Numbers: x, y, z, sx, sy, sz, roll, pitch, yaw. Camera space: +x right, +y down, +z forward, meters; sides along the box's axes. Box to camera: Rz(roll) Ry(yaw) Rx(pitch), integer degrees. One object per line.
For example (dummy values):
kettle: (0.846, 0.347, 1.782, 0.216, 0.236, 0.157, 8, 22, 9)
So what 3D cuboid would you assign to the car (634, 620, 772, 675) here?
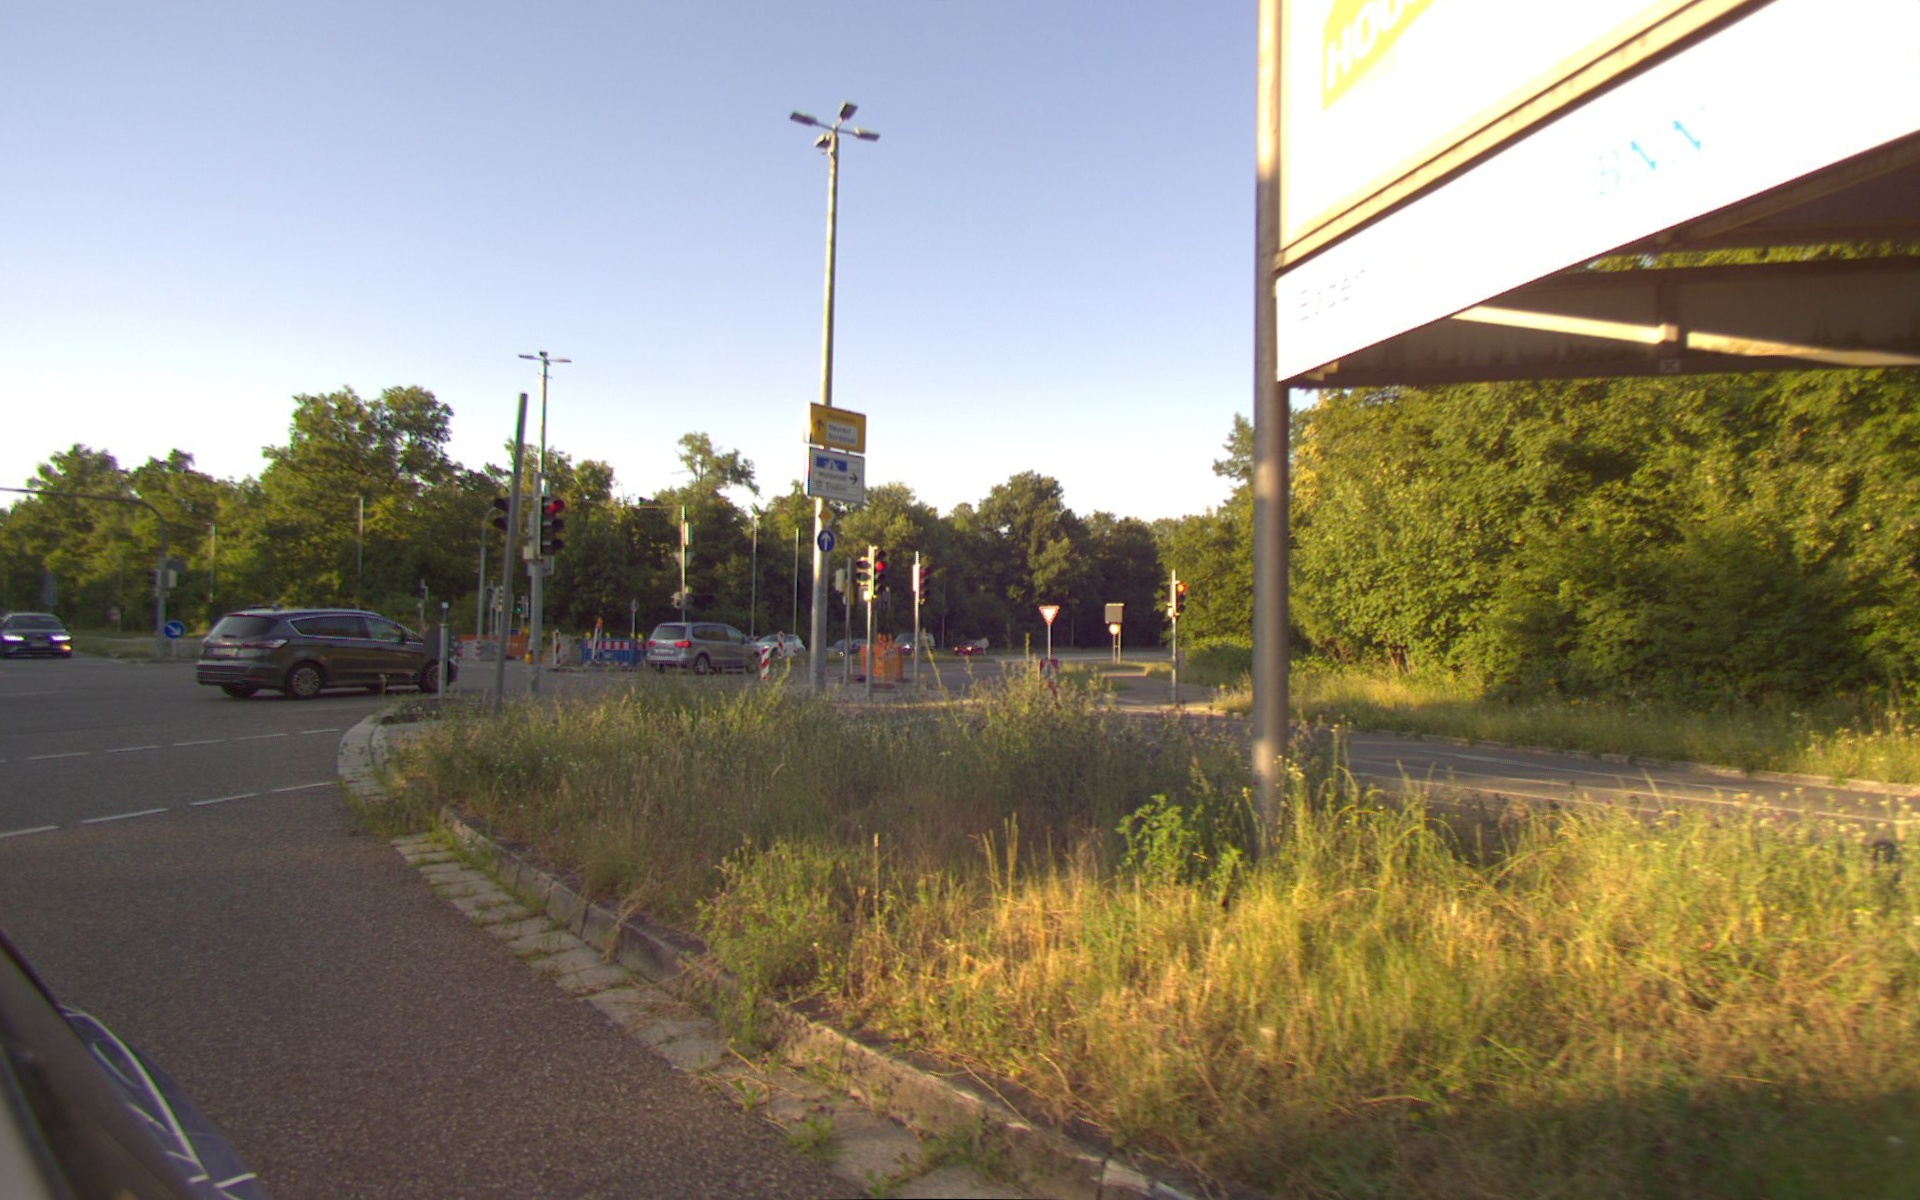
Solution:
car: (-8.634, 1.594, 34.467, 1.865, 1.738, 4.611, -1, -2, 30)

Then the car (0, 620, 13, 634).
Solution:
car: (-101.320, 2.871, 106.694, 4.045, 1.337, 1.642, 1, -1, 41)

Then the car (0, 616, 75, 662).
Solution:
car: (-33.521, 1.377, 36.469, 3.999, 1.531, 1.975, -1, -2, 42)

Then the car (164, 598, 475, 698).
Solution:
car: (-12.100, 0.918, 19.572, 1.999, 1.674, 4.784, 0, -3, 23)

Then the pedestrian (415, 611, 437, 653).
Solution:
pedestrian: (-23.747, 1.421, 45.028, 0.567, 1.814, 0.751, 1, -2, -5)

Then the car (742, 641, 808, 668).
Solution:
car: (-10.833, 3.185, 59.520, 1.712, 1.467, 4.196, 0, -2, 25)

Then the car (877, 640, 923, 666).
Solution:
car: (-4.757, 4.243, 81.358, 1.874, 2.040, 4.195, 0, -2, 26)

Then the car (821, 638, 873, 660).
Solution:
car: (-8.167, 3.534, 73.594, 1.712, 1.467, 4.363, 0, -2, 25)

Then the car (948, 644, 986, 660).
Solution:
car: (0.689, 4.737, 92.530, 1.873, 1.432, 4.197, 0, -2, 25)
